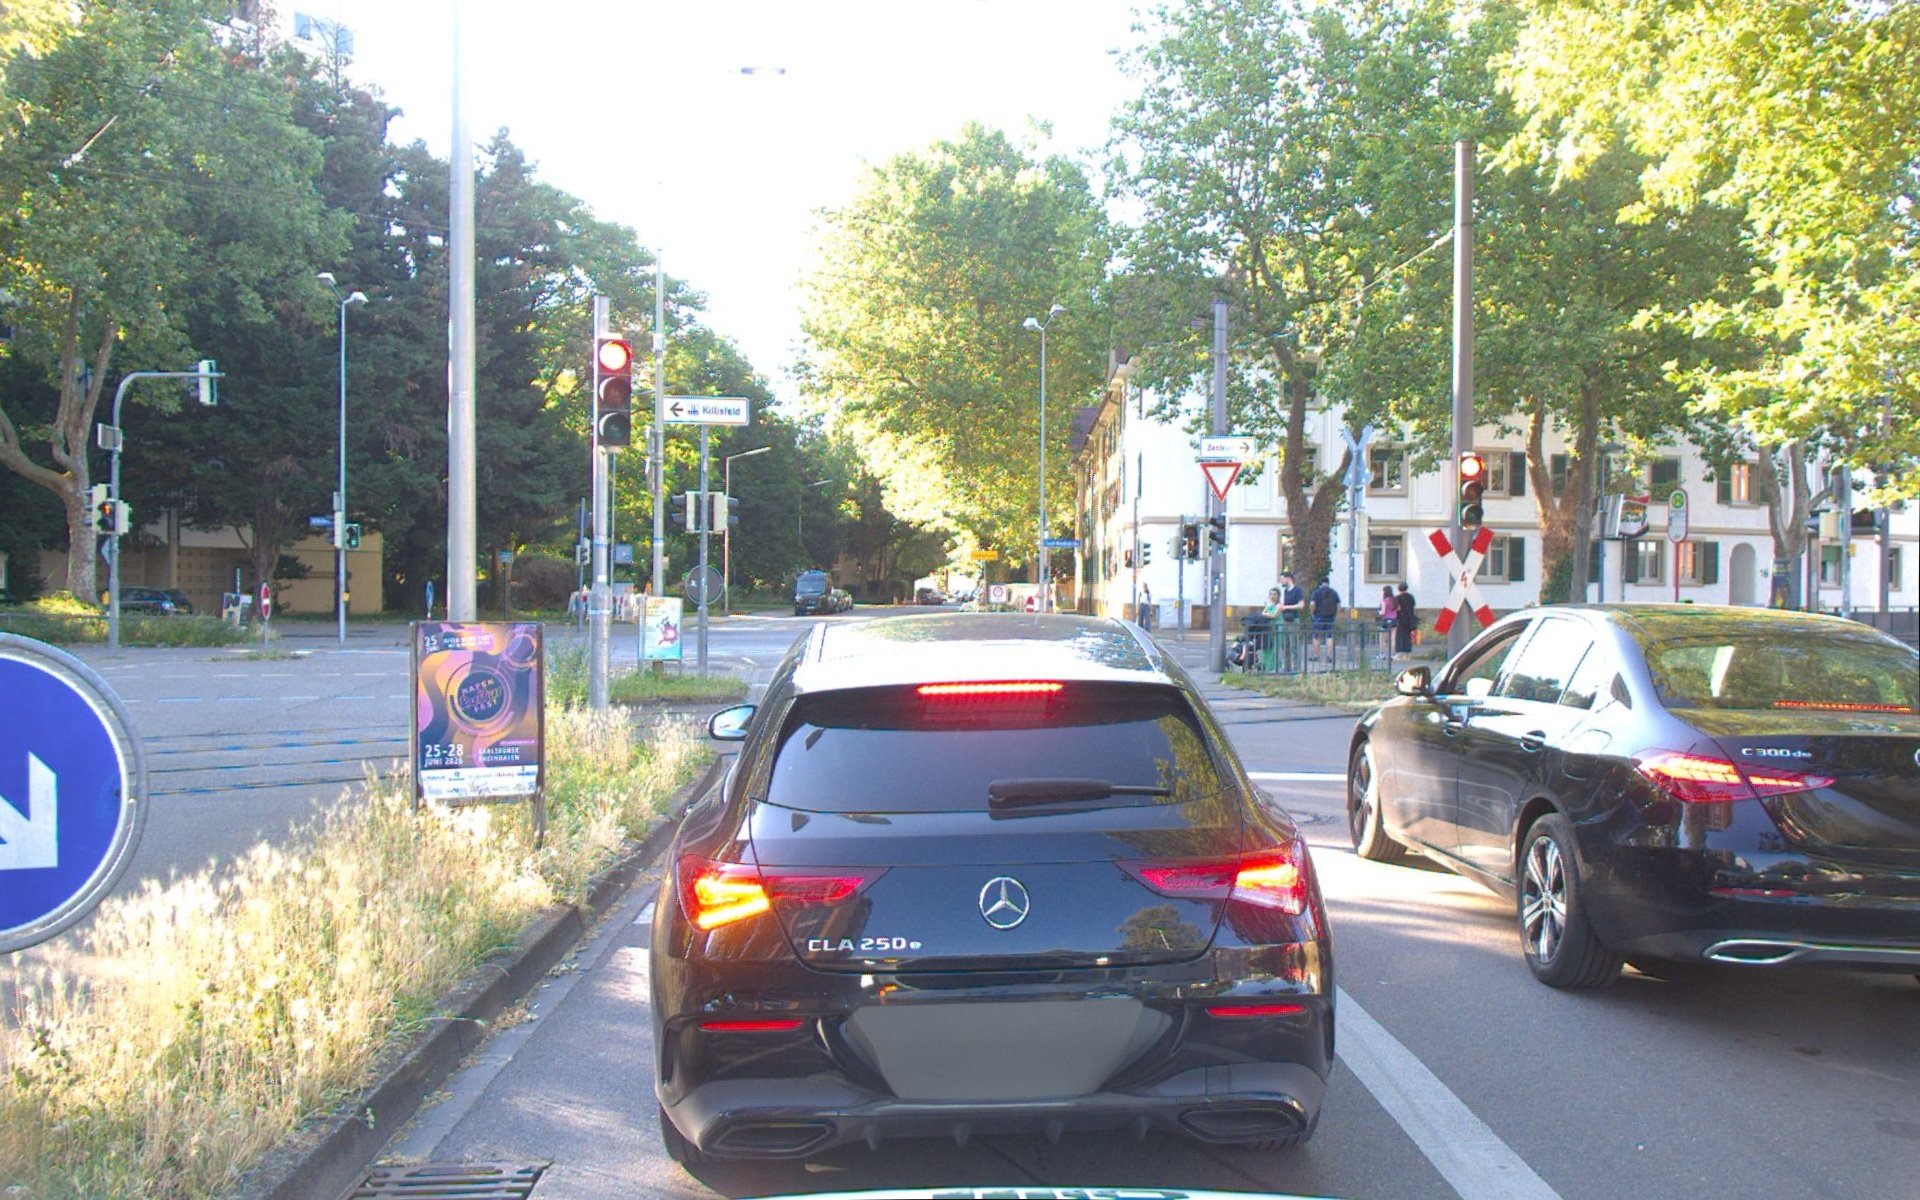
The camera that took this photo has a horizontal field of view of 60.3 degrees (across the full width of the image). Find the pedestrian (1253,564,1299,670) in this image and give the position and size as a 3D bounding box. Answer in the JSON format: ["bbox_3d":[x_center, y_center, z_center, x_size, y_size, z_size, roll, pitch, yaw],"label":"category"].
[{"bbox_3d":[5.910,0.309,30.966,0.669,1.951,0.706,1,-1,-5],"label":"pedestrian"}]

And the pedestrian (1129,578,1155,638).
[{"bbox_3d":[6.077,0.264,55.178,0.691,1.951,0.838,1,-1,-4],"label":"pedestrian"}]

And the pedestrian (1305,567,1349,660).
[{"bbox_3d":[7.783,0.286,35.114,0.691,1.951,0.838,1,-1,-4],"label":"pedestrian"}]

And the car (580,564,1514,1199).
[{"bbox_3d":[0.189,0.676,5.325,1.851,1.475,4.001,1,2,0],"label":"car"}]

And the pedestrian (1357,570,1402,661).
[{"bbox_3d":[9.066,0.331,35.793,0.691,1.951,0.838,1,-1,-4],"label":"pedestrian"}]

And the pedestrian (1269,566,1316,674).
[{"bbox_3d":[6.067,0.362,30.196,0.669,1.951,0.707,1,-1,-3],"label":"pedestrian"}]

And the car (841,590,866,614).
[{"bbox_3d":[-8.134,0.148,126.267,1.698,1.796,3.970,1,0,-1],"label":"car"}]

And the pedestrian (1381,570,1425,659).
[{"bbox_3d":[9.856,0.319,36.805,0.691,1.951,0.838,1,-1,-4],"label":"pedestrian"}]

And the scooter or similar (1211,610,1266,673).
[{"bbox_3d":[5.118,0.753,30.443,0.812,1.124,0.808,1,0,-6],"label":"scooter or similar"}]

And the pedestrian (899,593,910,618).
[{"bbox_3d":[-4.365,0.458,129.943,0.692,1.951,0.837,1,-1,-11],"label":"pedestrian"}]

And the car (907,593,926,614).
[{"bbox_3d":[-3.954,0.321,150.309,1.698,1.796,4.018,1,0,-1],"label":"car"}]

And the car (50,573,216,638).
[{"bbox_3d":[-24.381,0.154,48.839,3.902,1.805,2.001,1,0,7],"label":"car"}]

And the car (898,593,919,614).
[{"bbox_3d":[-4.529,0.352,145.479,1.698,1.796,4.018,1,0,-1],"label":"car"}]

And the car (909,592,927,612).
[{"bbox_3d":[-4.003,0.210,158.392,1.698,1.796,4.018,1,0,-1],"label":"car"}]

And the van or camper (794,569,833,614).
[{"bbox_3d":[-8.794,-0.482,99.602,1.953,2.586,4.650,1,0,-1],"label":"van or camper"}]

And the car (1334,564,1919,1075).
[{"bbox_3d":[3.139,0.656,7.383,1.851,1.516,4.381,1,2,-1],"label":"car"}]
